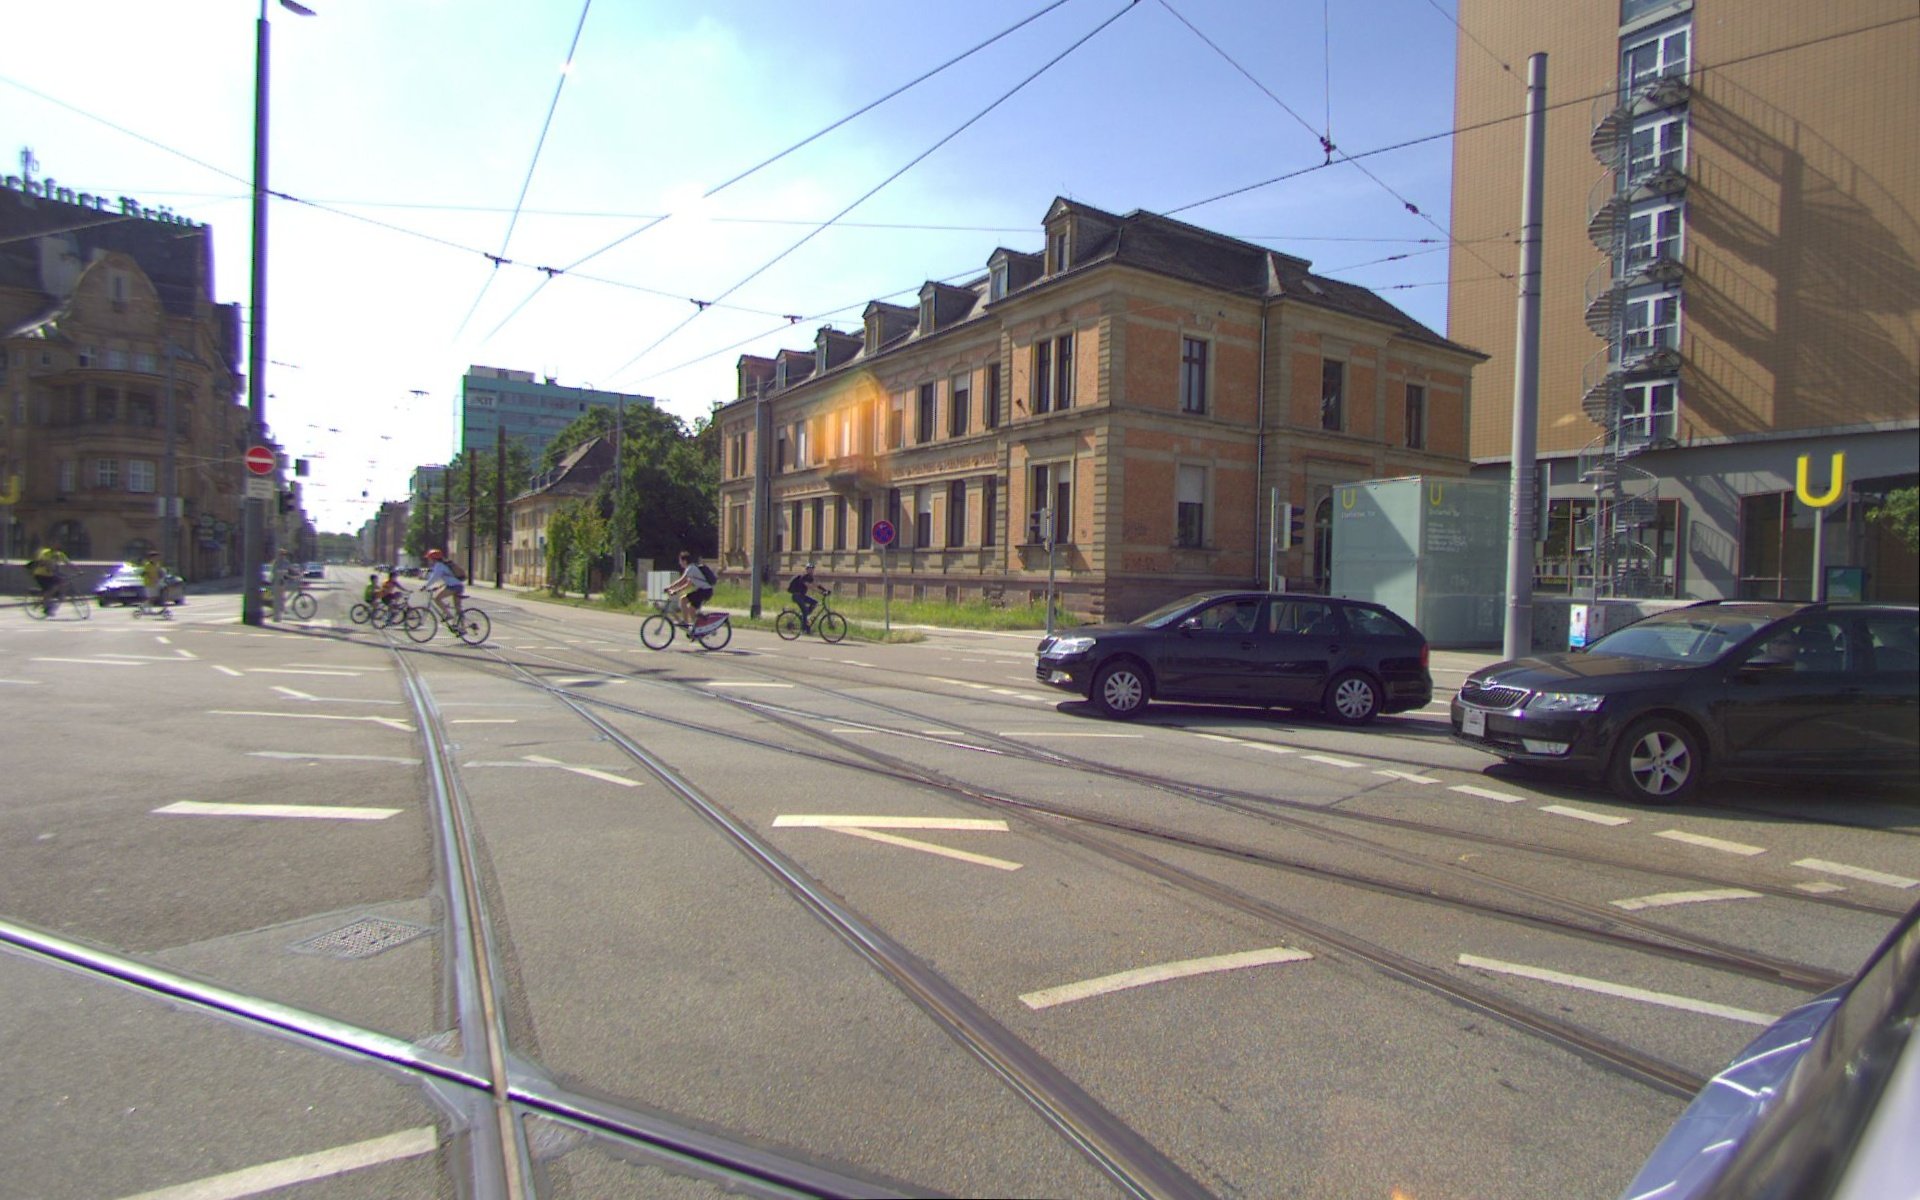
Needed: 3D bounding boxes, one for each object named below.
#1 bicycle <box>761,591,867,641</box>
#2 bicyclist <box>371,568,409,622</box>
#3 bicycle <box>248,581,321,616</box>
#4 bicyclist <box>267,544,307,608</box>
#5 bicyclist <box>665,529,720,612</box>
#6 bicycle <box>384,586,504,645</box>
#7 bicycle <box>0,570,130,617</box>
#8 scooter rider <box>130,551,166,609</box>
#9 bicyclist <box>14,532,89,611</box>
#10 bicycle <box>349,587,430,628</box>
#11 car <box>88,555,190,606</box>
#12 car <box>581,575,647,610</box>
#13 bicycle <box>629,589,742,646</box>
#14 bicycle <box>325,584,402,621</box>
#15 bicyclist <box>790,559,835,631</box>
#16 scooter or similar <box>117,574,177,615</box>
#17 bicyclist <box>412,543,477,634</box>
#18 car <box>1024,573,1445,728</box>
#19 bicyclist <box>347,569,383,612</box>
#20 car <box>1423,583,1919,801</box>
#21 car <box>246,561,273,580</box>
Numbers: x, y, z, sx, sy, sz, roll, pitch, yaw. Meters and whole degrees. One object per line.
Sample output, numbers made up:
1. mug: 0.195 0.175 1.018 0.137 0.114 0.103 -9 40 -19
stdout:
1. bicycle: -3.440 0.356 23.782 2.433 1.083 0.664 2 -1 20
2. bicyclist: -13.322 -0.121 23.677 0.591 1.211 0.521 2 1 -6
3. bicycle: -17.412 -0.034 26.095 1.558 0.877 0.501 1 -1 3
4. bicyclist: -17.370 -0.612 26.111 0.638 1.642 0.501 1 -1 2
5. bicyclist: -5.026 -0.539 19.037 0.930 1.507 0.717 1 -1 -10
6. bicycle: -9.878 0.281 19.410 1.985 1.027 0.716 1 3 5
7. bicycle: -21.859 -0.147 24.391 2.688 1.083 0.931 1 -1 -18
8. scooter rider: -19.772 -0.479 24.658 0.399 1.415 0.589 1 -1 -3
9. bicyclist: -21.872 -0.667 24.395 1.030 1.843 0.931 1 -1 -19
10. bicycle: -13.347 0.179 23.692 1.543 0.897 0.521 2 1 -6
11. car: -27.956 -0.678 34.588 1.604 1.603 4.009 1 1 -23
12. car: -14.194 -0.316 41.415 1.641 1.329 3.452 1 1 -36
13. bicycle: -5.129 0.328 19.010 1.979 1.028 0.717 1 -1 -10
14. bicycle: -14.881 0.060 25.267 1.555 0.877 0.502 2 -1 -4
15. bicyclist: -3.464 -0.120 23.815 0.773 1.645 0.664 1 -1 20
16. scooter or similar: -19.800 -0.128 24.658 0.972 0.988 0.589 1 -1 -3
17. bicyclist: -9.860 -0.232 19.376 0.859 1.689 0.716 1 3 5
18. car: 3.009 0.520 11.714 4.313 1.447 1.706 3 1 -1
19. bicyclist: -14.851 -0.225 25.276 0.593 1.042 0.502 2 -1 -5
20. car: 6.363 0.661 7.916 4.687 1.453 1.637 2 1 -2
21. car: -53.442 -2.290 77.268 1.607 1.362 3.585 1 1 -34
